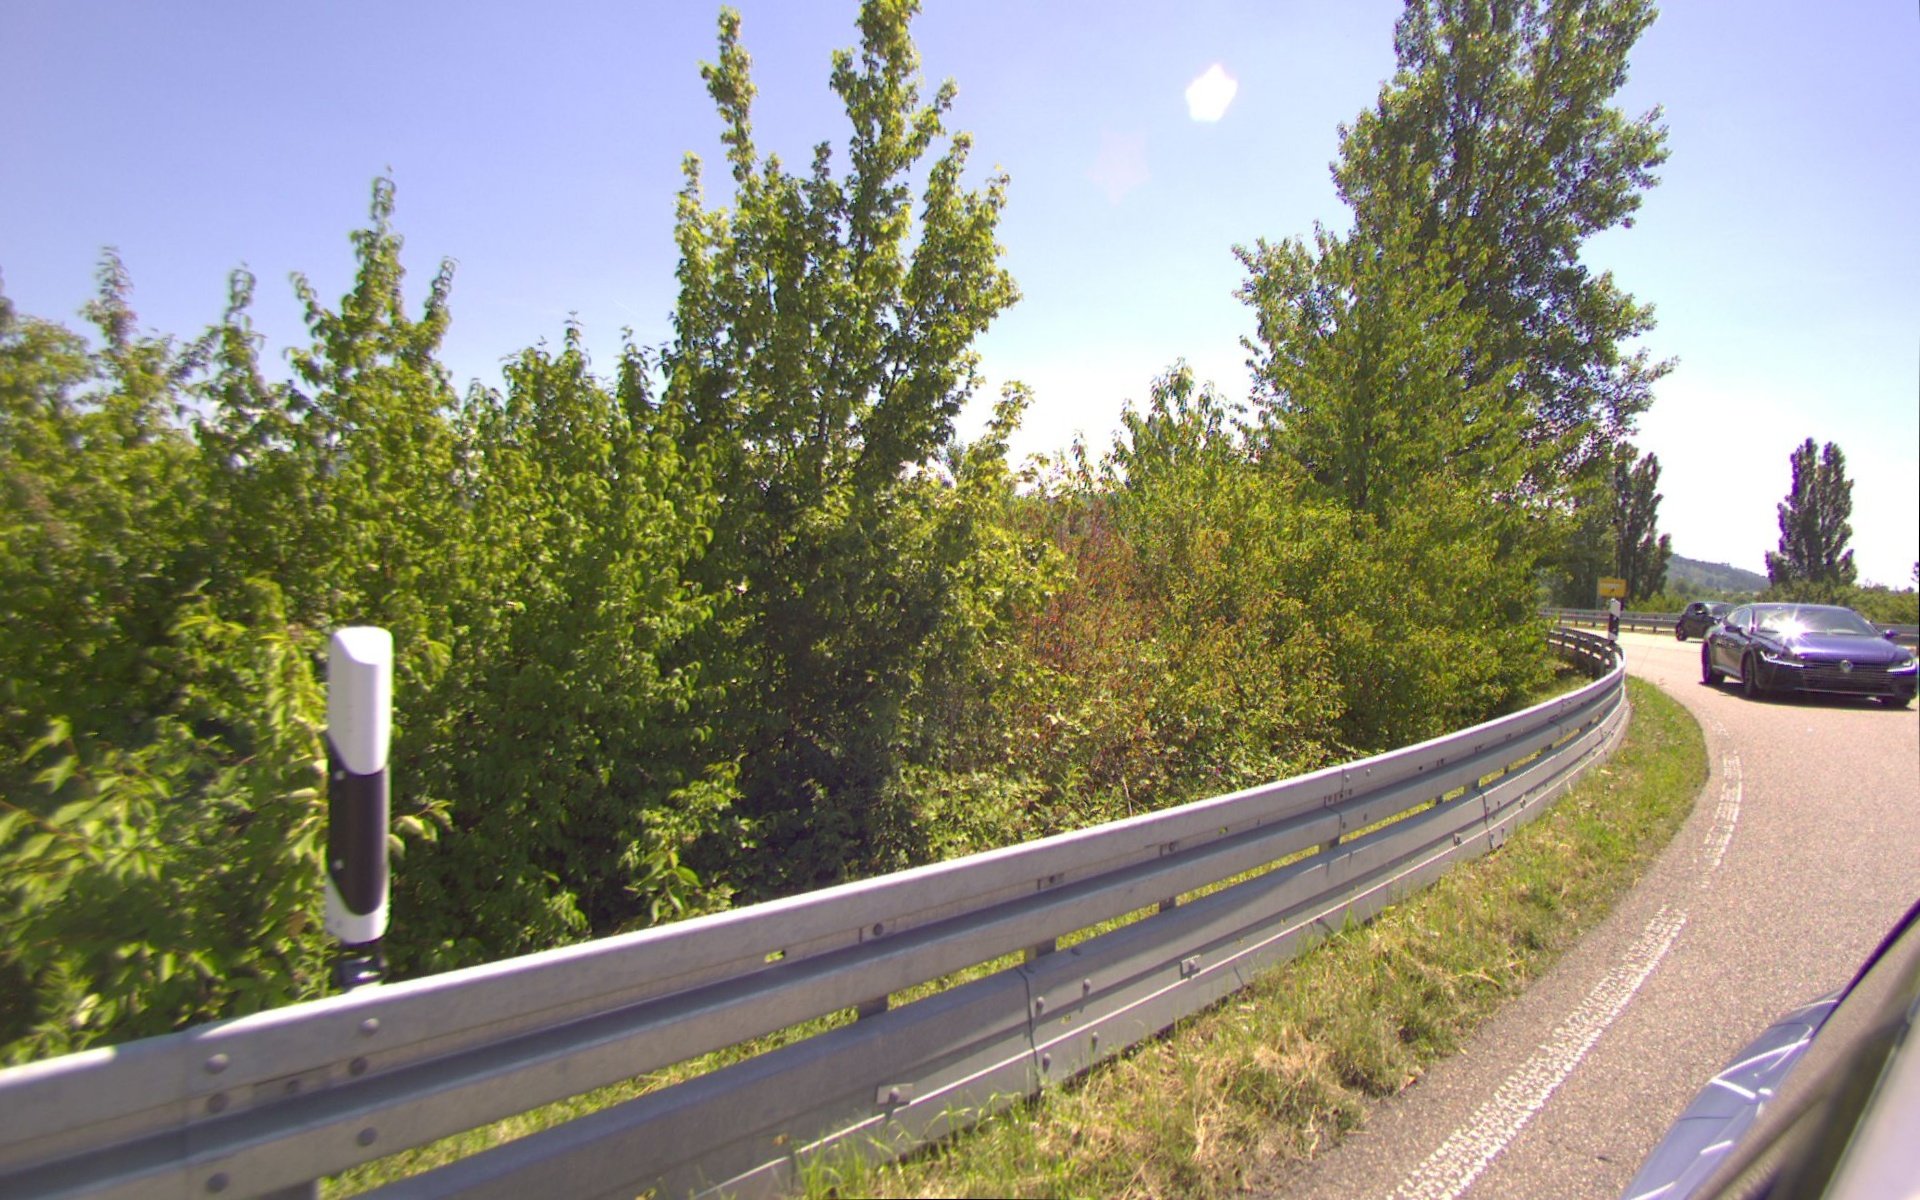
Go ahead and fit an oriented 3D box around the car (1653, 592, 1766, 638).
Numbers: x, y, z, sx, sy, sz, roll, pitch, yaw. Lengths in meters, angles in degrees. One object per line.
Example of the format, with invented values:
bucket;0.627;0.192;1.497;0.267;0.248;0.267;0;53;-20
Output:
car;28.779;0.535;39.009;1.801;1.632;3.990;1;0;9

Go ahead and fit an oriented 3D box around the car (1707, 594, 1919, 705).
car;13.070;0.645;15.568;1.826;1.448;4.490;0;0;27
